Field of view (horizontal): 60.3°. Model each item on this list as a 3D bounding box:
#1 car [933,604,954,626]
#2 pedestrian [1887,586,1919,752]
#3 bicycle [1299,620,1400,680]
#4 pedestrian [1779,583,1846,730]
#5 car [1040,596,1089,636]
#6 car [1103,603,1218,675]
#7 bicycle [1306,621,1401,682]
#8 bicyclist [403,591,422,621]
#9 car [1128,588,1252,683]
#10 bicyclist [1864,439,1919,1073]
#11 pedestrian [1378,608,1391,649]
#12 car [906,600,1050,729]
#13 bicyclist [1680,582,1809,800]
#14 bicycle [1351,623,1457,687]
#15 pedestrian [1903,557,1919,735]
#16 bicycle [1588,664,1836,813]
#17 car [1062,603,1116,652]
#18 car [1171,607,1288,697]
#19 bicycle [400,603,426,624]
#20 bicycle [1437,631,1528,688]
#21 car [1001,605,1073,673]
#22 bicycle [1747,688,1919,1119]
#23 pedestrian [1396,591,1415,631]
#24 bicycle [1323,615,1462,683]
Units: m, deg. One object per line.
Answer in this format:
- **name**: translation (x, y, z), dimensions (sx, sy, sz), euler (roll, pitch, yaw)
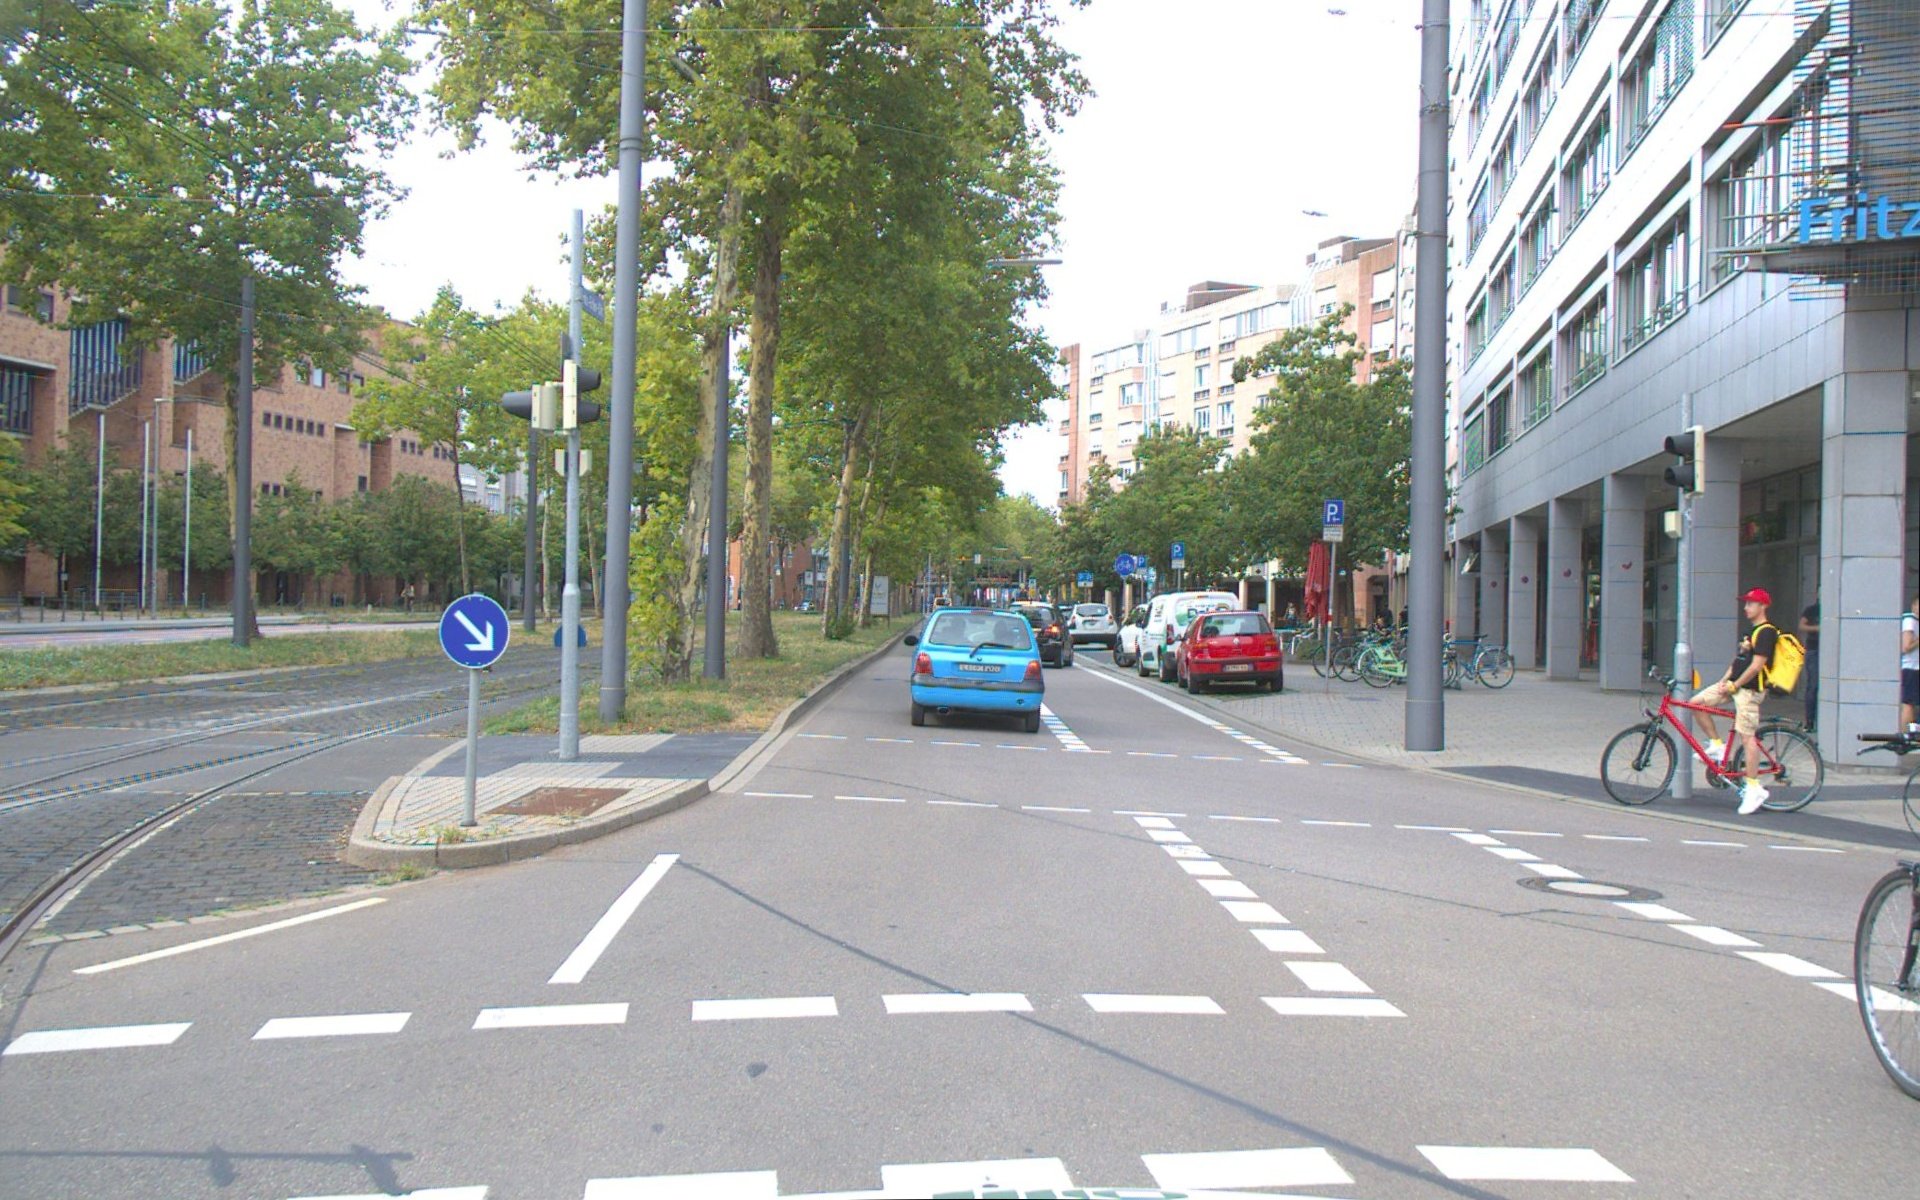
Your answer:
- **car**: translation (-1.581, 1.386, 157.227), dimensions (1.892, 1.959, 4.955), euler (1, 0, 0)
- **pedestrian**: translation (10.367, 0.734, 17.851), dimensions (0.543, 1.756, 0.495), euler (1, 1, 22)
- **bicycle**: translation (8.237, 1.048, 35.022), dimensions (2.011, 1.218, 0.480), euler (1, 0, 7)
- **pedestrian**: translation (10.411, 0.675, 20.205), dimensions (0.534, 1.756, 0.644), euler (1, 1, 10)
- **car**: translation (4.315, 0.635, 68.654), dimensions (1.680, 1.545, 4.203), euler (-1, 0, -1)
- **car**: translation (5.073, 0.950, 42.430), dimensions (1.956, 1.630, 4.578), euler (-2, 1, -5)
- **bicycle**: translation (8.200, 1.063, 34.488), dimensions (1.868, 1.218, 0.480), euler (1, 0, 7)
- **bicyclist**: translation (-30.228, 0.346, 91.340), dimensions (0.650, 1.618, 0.984), euler (1, 0, 2)
- **car**: translation (4.865, 0.696, 35.616), dimensions (1.790, 1.897, 4.645), euler (-1, 0, -3)
- **bicyclist**: translation (3.014, 0.444, 4.461), dimensions (0.577, 1.799, 1.035), euler (0, 0, 0)
- **pedestrian**: translation (16.888, 1.126, 65.789), dimensions (0.501, 1.582, 0.473), euler (1, 0, 13)
- **car**: translation (0.214, 0.731, 20.747), dimensions (1.607, 1.410, 3.843), euler (2, 0, 0)
- **bicyclist**: translation (6.694, 0.748, 14.149), dimensions (0.894, 1.795, 0.720), euler (0, 0, 17)
- **bicycle**: translation (8.098, 0.998, 30.185), dimensions (1.814, 1.158, 0.492), euler (0, 0, -7)
- **pedestrian**: translation (11.372, 0.537, 19.060), dimensions (0.589, 2.048, 0.675), euler (1, 3, 6)
- **bicycle**: translation (6.423, 1.160, 14.230), dimensions (1.858, 1.158, 0.727), euler (1, 0, 17)
- **car**: translation (4.608, 0.946, 59.534), dimensions (1.822, 1.682, 4.165), euler (0, 0, 3)
- **car**: translation (4.910, 0.896, 30.566), dimensions (1.686, 1.457, 4.255), euler (-2, 0, 4)
- **bicycle**: translation (-30.238, 0.735, 91.410), dimensions (0.654, 1.103, 2.094), euler (1, 0, 3)
- **bicycle**: translation (9.387, 1.068, 29.726), dimensions (1.527, 1.004, 0.422), euler (0, 0, -5)
- **car**: translation (2.020, 0.952, 42.485), dimensions (1.737, 1.604, 4.307), euler (-1, 0, 4)
- **bicycle**: translation (3.010, 0.892, 4.666), dimensions (0.582, 1.158, 2.091), euler (0, 0, 0)
- **pedestrian**: translation (17.652, 0.430, 65.523), dimensions (0.695, 1.582, 0.799), euler (1, 0, 13)
- **bicycle**: translation (8.538, 0.965, 32.708), dimensions (2.578, 1.280, 0.655), euler (1, 0, 0)
